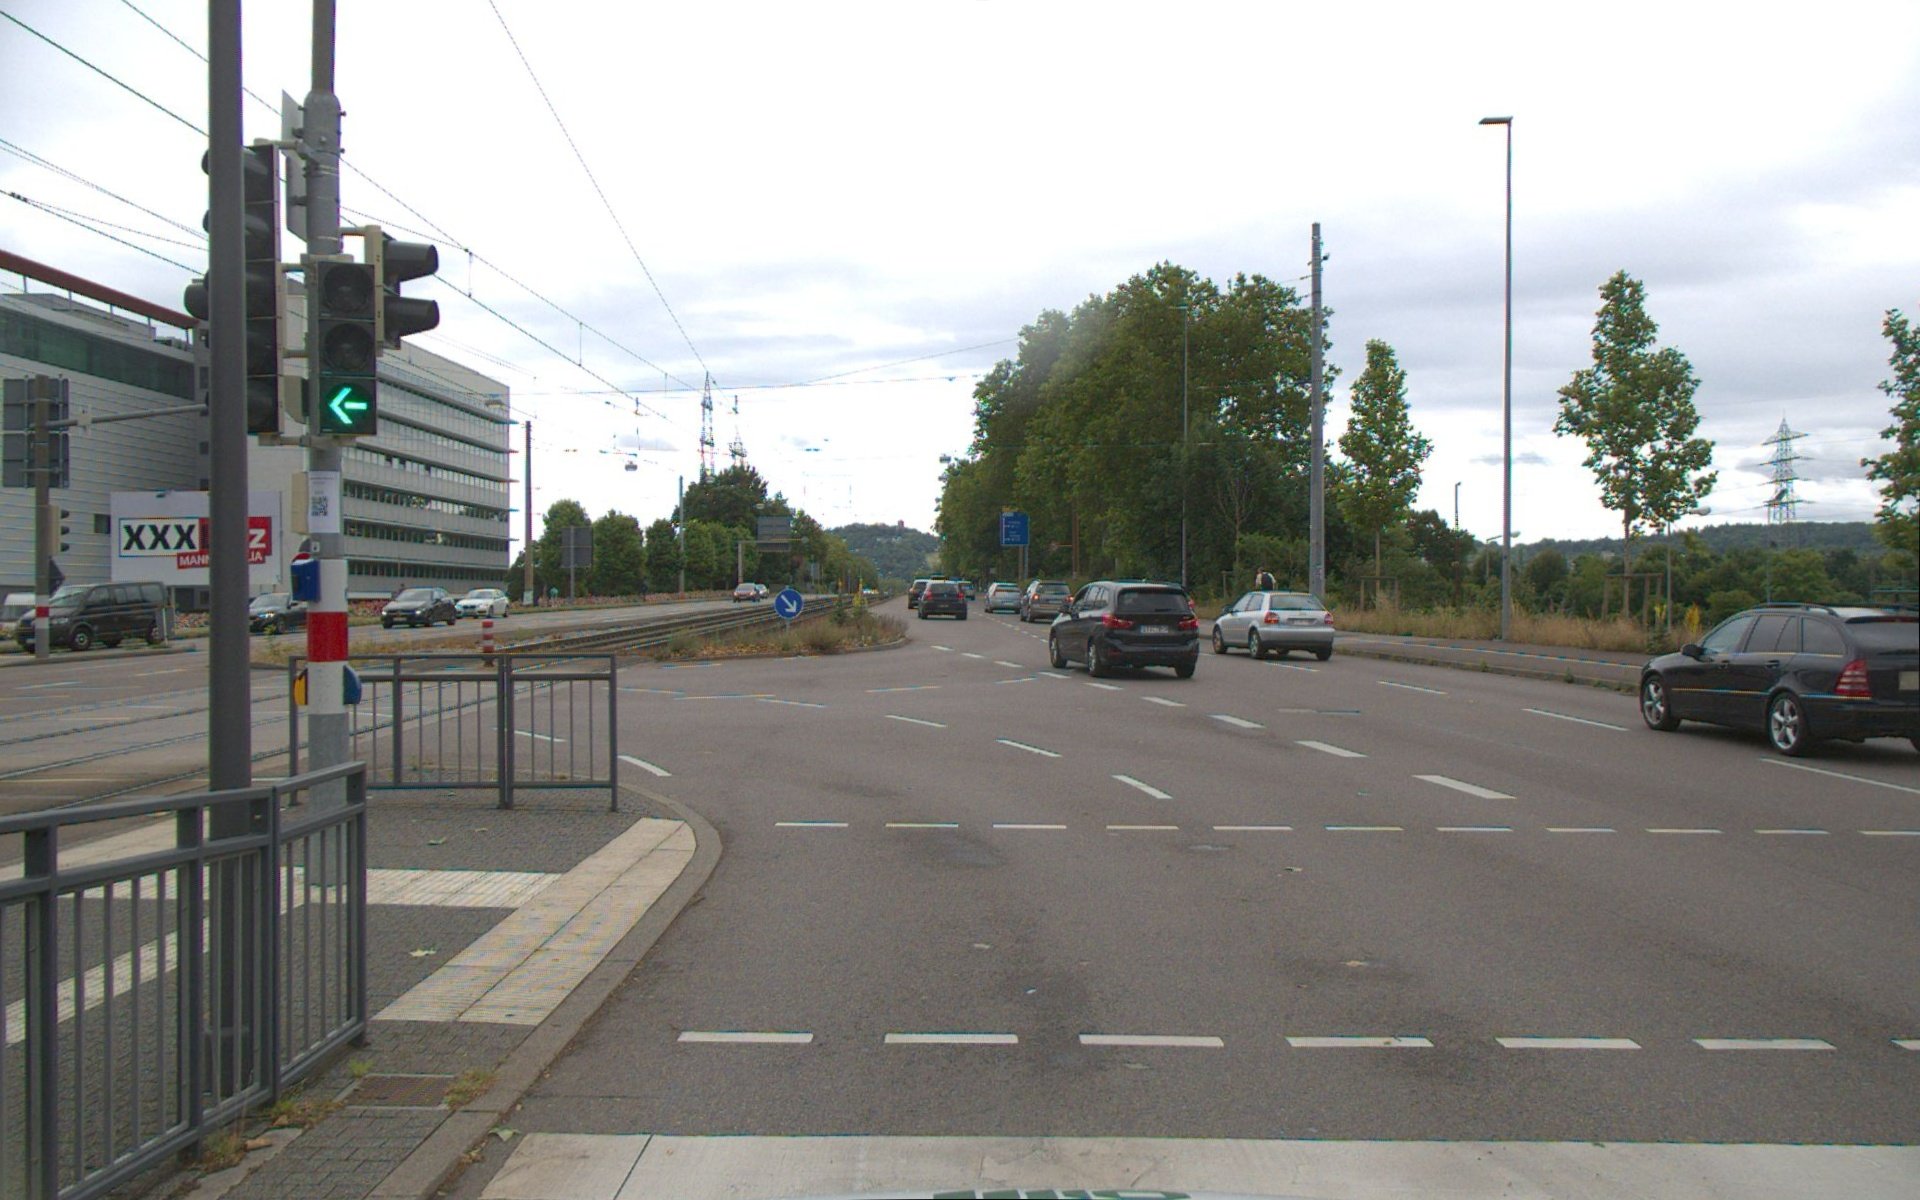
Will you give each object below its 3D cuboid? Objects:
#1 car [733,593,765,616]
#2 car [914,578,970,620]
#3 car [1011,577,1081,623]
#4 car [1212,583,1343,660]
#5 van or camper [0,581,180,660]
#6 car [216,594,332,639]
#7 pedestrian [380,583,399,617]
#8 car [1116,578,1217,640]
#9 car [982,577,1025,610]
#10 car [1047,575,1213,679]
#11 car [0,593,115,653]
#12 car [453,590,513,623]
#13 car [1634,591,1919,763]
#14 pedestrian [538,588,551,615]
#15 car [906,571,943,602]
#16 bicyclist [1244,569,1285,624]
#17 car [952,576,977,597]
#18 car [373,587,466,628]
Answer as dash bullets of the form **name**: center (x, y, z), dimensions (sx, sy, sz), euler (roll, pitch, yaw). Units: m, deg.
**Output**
- **car**: center (-16.499, 0.362, 129.468), dimensions (1.953, 1.758, 4.000), euler (1, 0, 0)
- **car**: center (-0.694, -0.060, 61.650), dimensions (1.713, 1.456, 3.371), euler (1, 1, -7)
- **car**: center (3.176, -0.001, 61.972), dimensions (1.822, 1.589, 4.309), euler (2, 0, -8)
- **car**: center (6.852, 0.429, 36.076), dimensions (1.696, 1.535, 3.626), euler (1, 1, -8)
- **van or camper**: center (-25.897, 0.561, 49.429), dimensions (2.072, 2.048, 4.758), euler (-3, 1, 14)
- **car**: center (-24.396, 0.579, 58.972), dimensions (1.921, 1.489, 4.325), euler (1, 0, 6)
- **pedestrian**: center (-30.622, 0.019, 88.725), dimensions (0.627, 1.822, 0.698), euler (1, -1, 18)
- **car**: center (5.701, 0.232, 46.130), dimensions (1.821, 1.589, 4.311), euler (2, 0, -6)
- **car**: center (2.066, -0.310, 79.298), dimensions (1.779, 1.506, 3.669), euler (1, 0, -3)
- **car**: center (2.874, 0.418, 28.897), dimensions (1.799, 1.665, 4.307), euler (0, 0, -10)
- **car**: center (-48.383, 1.215, 88.222), dimensions (2.702, 3.042, 6.953), euler (1, 0, 2)
- **car**: center (-23.635, 0.312, 82.032), dimensions (1.692, 1.566, 4.046), euler (1, 0, 1)
- **car**: center (8.784, 0.689, 17.080), dimensions (1.700, 1.504, 4.317), euler (0, 1, -3)
- **pedestrian**: center (-25.896, 0.085, 103.043), dimensions (0.610, 1.682, 0.536), euler (2, -1, -43)
- **car**: center (-1.821, -0.660, 84.044), dimensions (1.779, 1.506, 3.669), euler (1, 0, -3)
- **bicyclist**: center (8.507, -0.102, 46.279), dimensions (0.802, 1.504, 0.997), euler (-2, 2, -11)
- **car**: center (0.320, -1.055, 130.596), dimensions (1.779, 1.506, 3.669), euler (1, 0, -3)
- **car**: center (-20.435, 0.249, 62.704), dimensions (1.792, 1.489, 4.211), euler (0, 0, 6)
